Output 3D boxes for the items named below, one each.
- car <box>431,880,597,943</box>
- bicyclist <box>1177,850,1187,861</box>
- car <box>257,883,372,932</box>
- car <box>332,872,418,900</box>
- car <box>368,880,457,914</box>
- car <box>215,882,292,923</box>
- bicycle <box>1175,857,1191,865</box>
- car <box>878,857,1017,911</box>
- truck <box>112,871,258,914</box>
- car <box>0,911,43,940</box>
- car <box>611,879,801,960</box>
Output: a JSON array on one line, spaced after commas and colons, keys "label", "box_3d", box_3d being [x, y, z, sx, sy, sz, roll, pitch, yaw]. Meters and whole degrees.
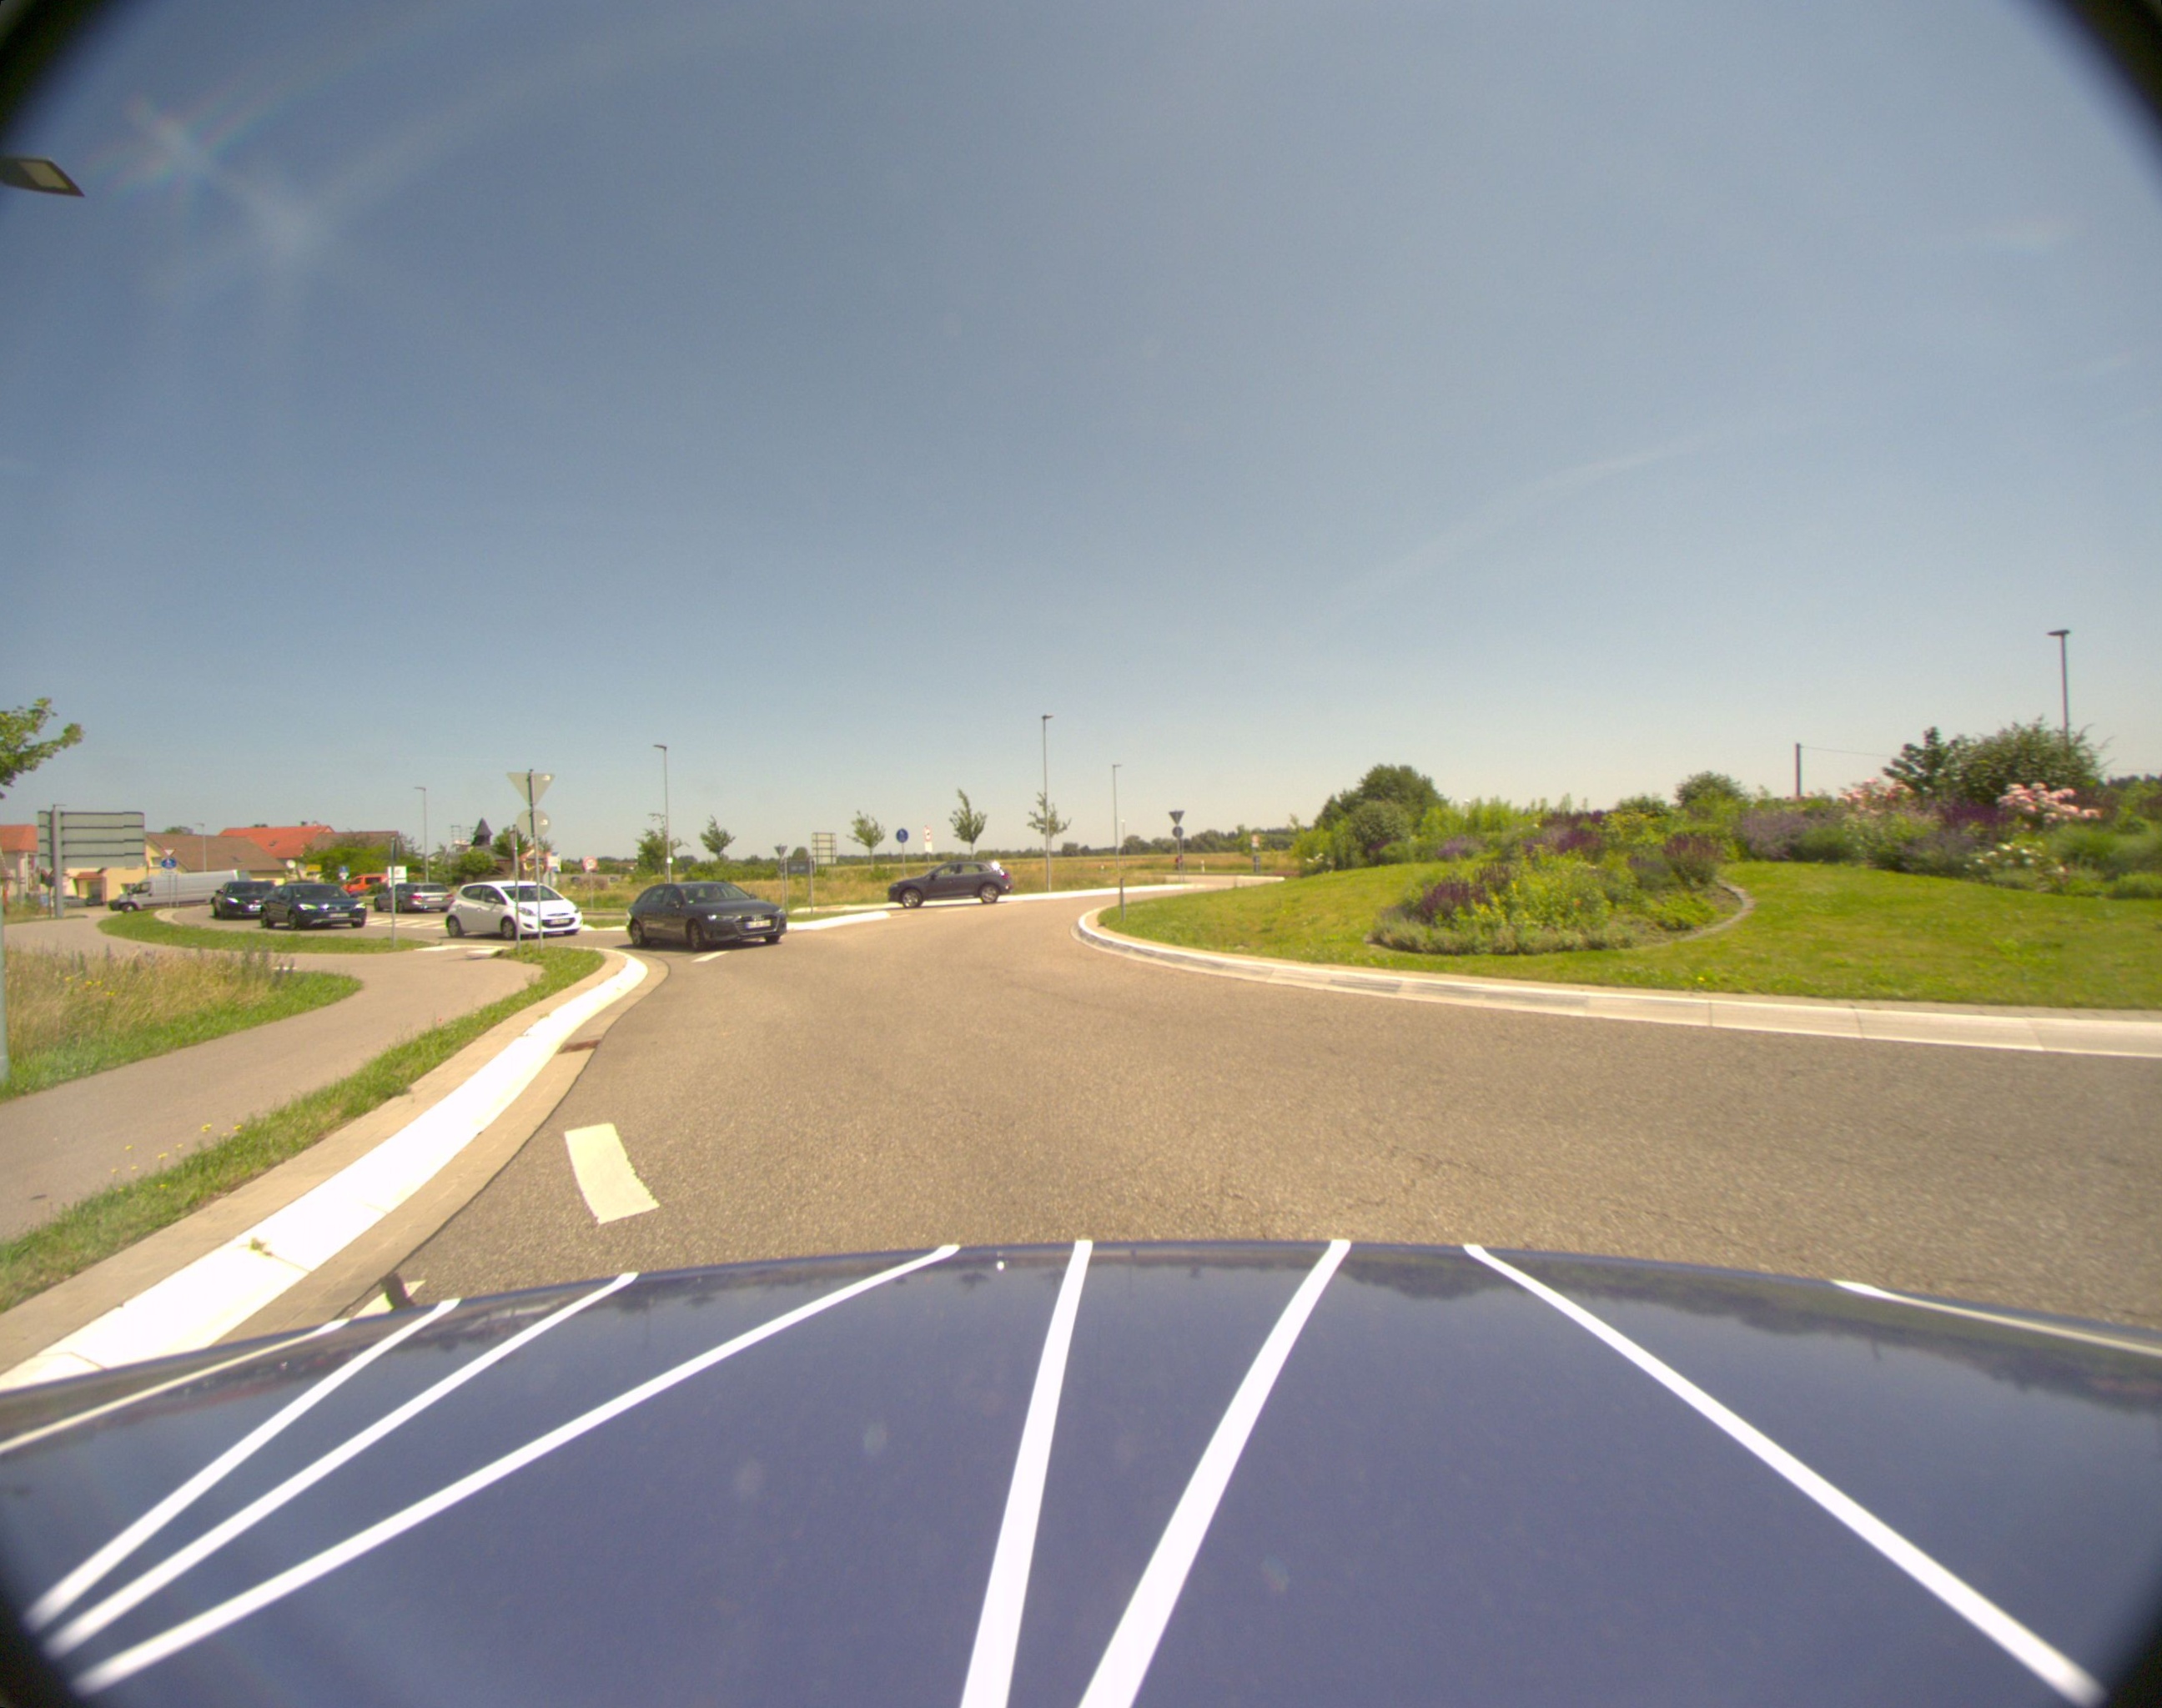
[{"label": "car", "box_3d": [-16.316, 1.613, 21.844, 4.510, 1.552, 1.872, -2, 1, 26]}, {"label": "bicyclist", "box_3d": [9.463, 0.140, 71.033, 0.722, 1.072, 0.580, -2, 0, 43]}, {"label": "car", "box_3d": [-27.345, 1.873, 27.086, 4.140, 1.552, 1.725, -2, 1, 29]}, {"label": "car", "box_3d": [-73.837, 3.312, 79.571, 6.138, 2.568, 2.354, -2, 0, -12]}, {"label": "car", "box_3d": [-33.126, 2.121, 37.605, 4.855, 1.482, 1.841, -3, 0, 31]}, {"label": "car", "box_3d": [-35.989, 2.038, 33.017, 4.712, 1.552, 1.873, -2, 1, 38]}, {"label": "bicycle", "box_3d": [9.534, 0.641, 70.986, 1.466, 0.725, 0.580, -2, 0, 43]}, {"label": "car", "box_3d": [-4.966, 1.090, 28.615, 4.889, 1.639, 1.952, -3, 0, -8]}, {"label": "truck", "box_3d": [-57.952, 2.423, 49.328, 5.644, 2.491, 2.232, -2, 0, -29]}, {"label": "car", "box_3d": [-54.859, 3.657, 37.696, 1.855, 1.343, 3.764, -2, 0, -11]}, {"label": "car", "box_3d": [-8.354, 1.343, 16.785, 4.508, 1.426, 1.872, -2, 2, 37]}]
